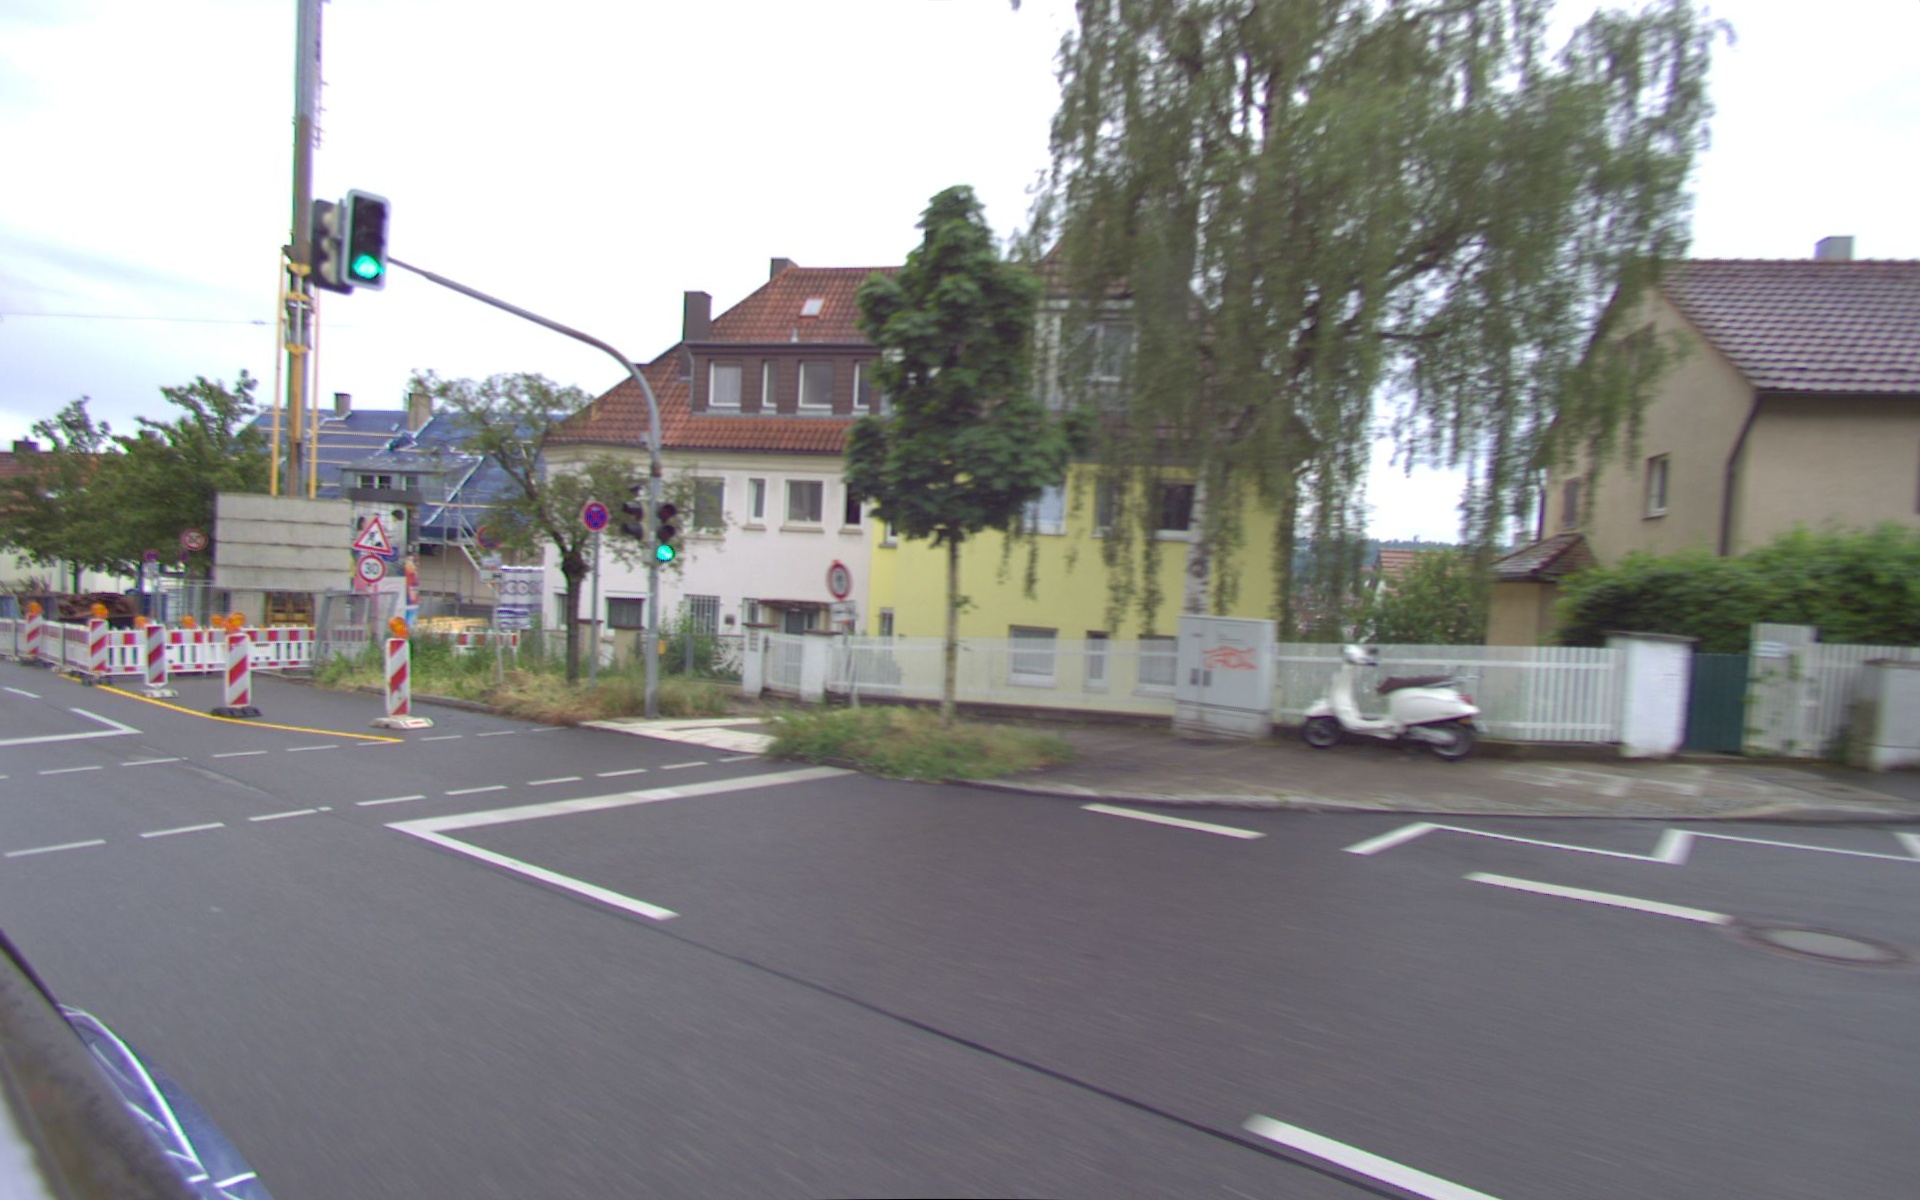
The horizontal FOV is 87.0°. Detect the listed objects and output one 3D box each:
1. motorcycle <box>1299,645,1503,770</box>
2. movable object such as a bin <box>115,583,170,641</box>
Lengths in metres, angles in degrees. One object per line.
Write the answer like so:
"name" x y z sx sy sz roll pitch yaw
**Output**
"motorcycle" 4.515 1.056 10.441 1.841 1.139 0.585 -1 -2 38
"movable object such as a bin" -36.186 0.516 44.803 1.374 2.524 1.310 0 0 17
